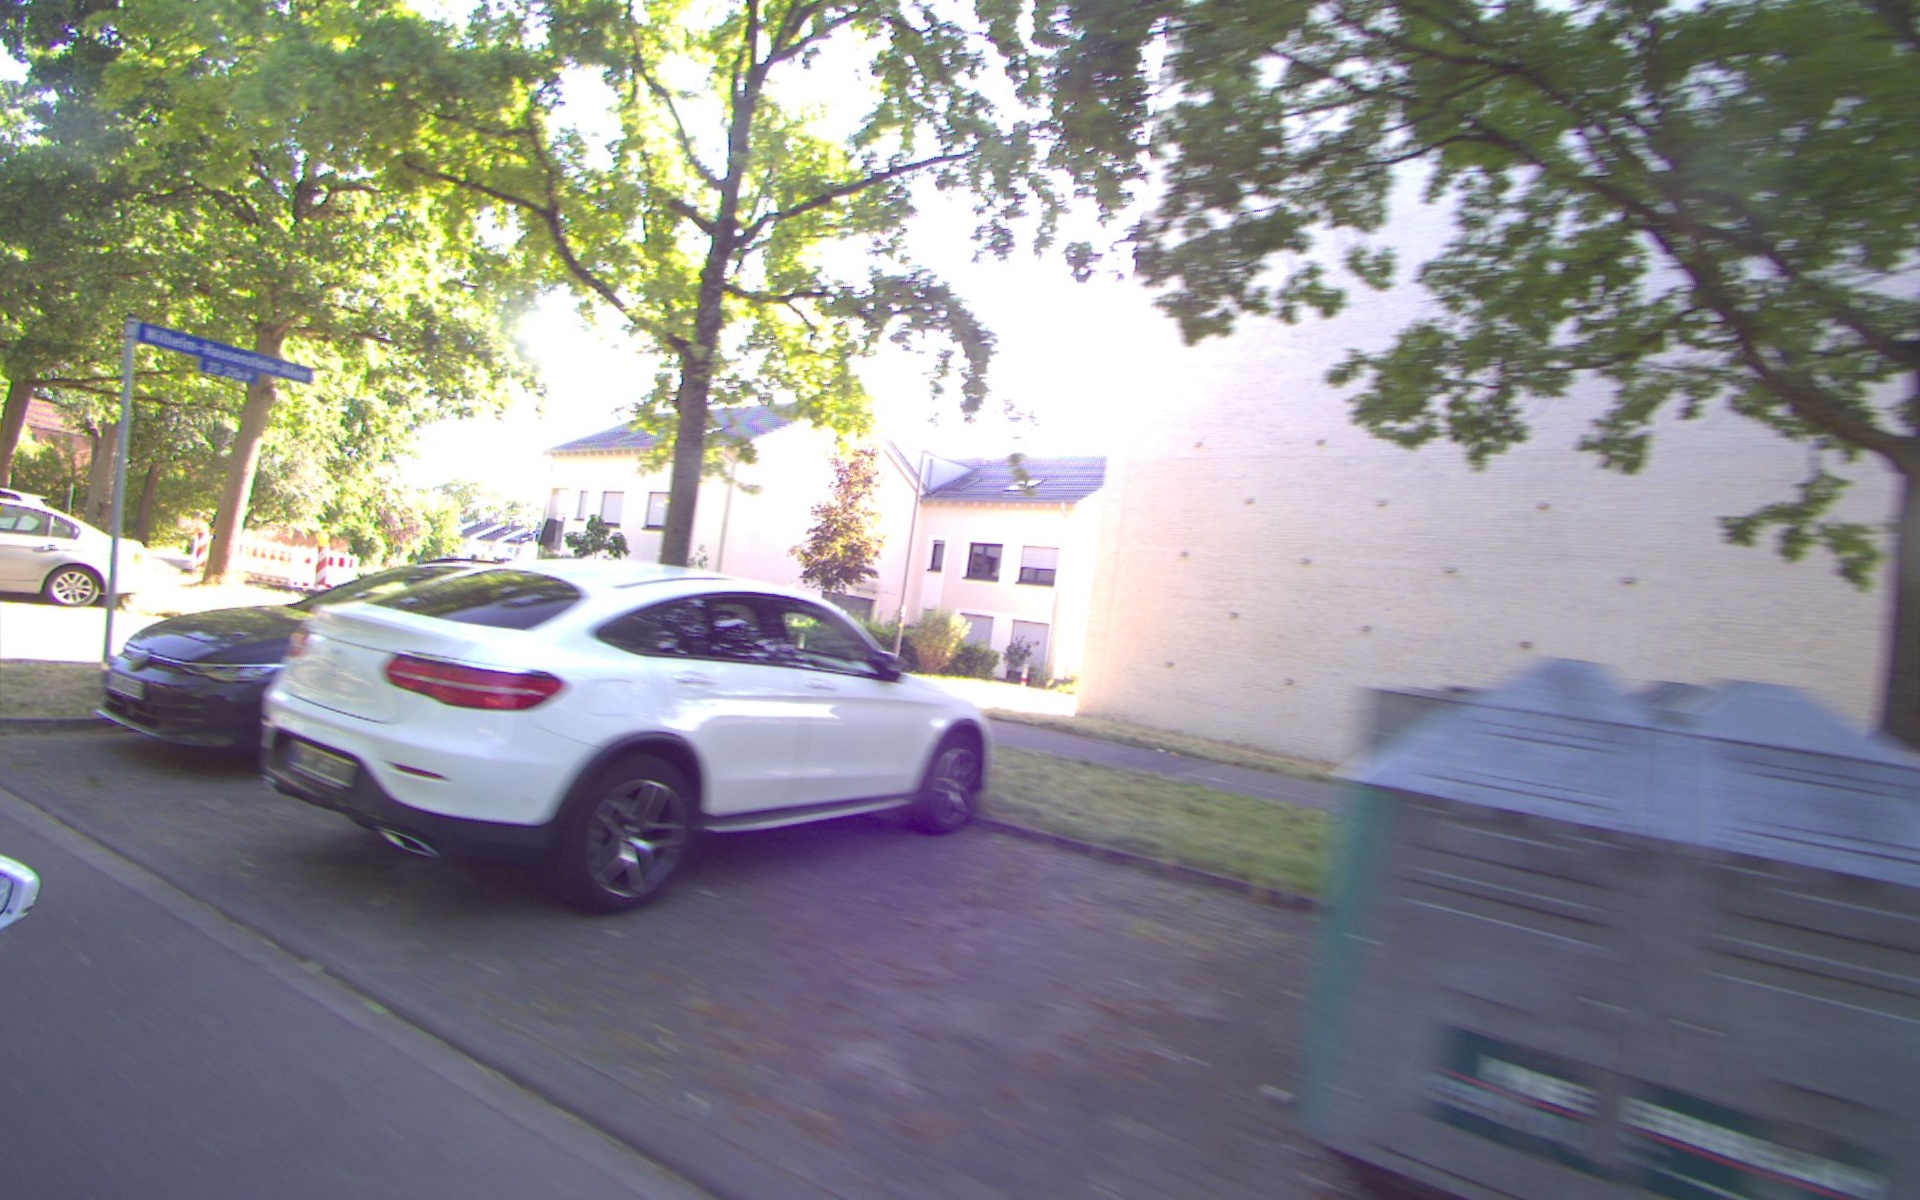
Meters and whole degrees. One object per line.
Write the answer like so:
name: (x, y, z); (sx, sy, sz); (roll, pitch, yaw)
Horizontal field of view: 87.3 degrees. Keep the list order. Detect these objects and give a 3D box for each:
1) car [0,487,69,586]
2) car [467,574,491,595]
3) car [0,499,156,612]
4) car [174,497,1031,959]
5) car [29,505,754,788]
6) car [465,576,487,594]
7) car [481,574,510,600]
car: (-16.618, -1.221, 15.496); (1.747, 1.515, 3.891); (7, -1, 30)
car: (-43.222, -1.376, 90.464); (1.717, 1.573, 3.447); (9, -3, -25)
car: (-14.254, -0.815, 13.910); (1.879, 1.406, 4.454); (7, -2, 31)
car: (-1.554, 0.607, 6.151); (1.885, 1.599, 4.678); (7, -1, 32)
car: (-4.020, 0.400, 8.094); (1.884, 1.473, 4.679); (7, -1, 30)
car: (-48.462, -1.491, 100.742); (1.717, 1.573, 3.447); (9, -3, -25)
car: (-34.371, -0.962, 74.355); (1.717, 1.573, 3.447); (9, -3, -25)
